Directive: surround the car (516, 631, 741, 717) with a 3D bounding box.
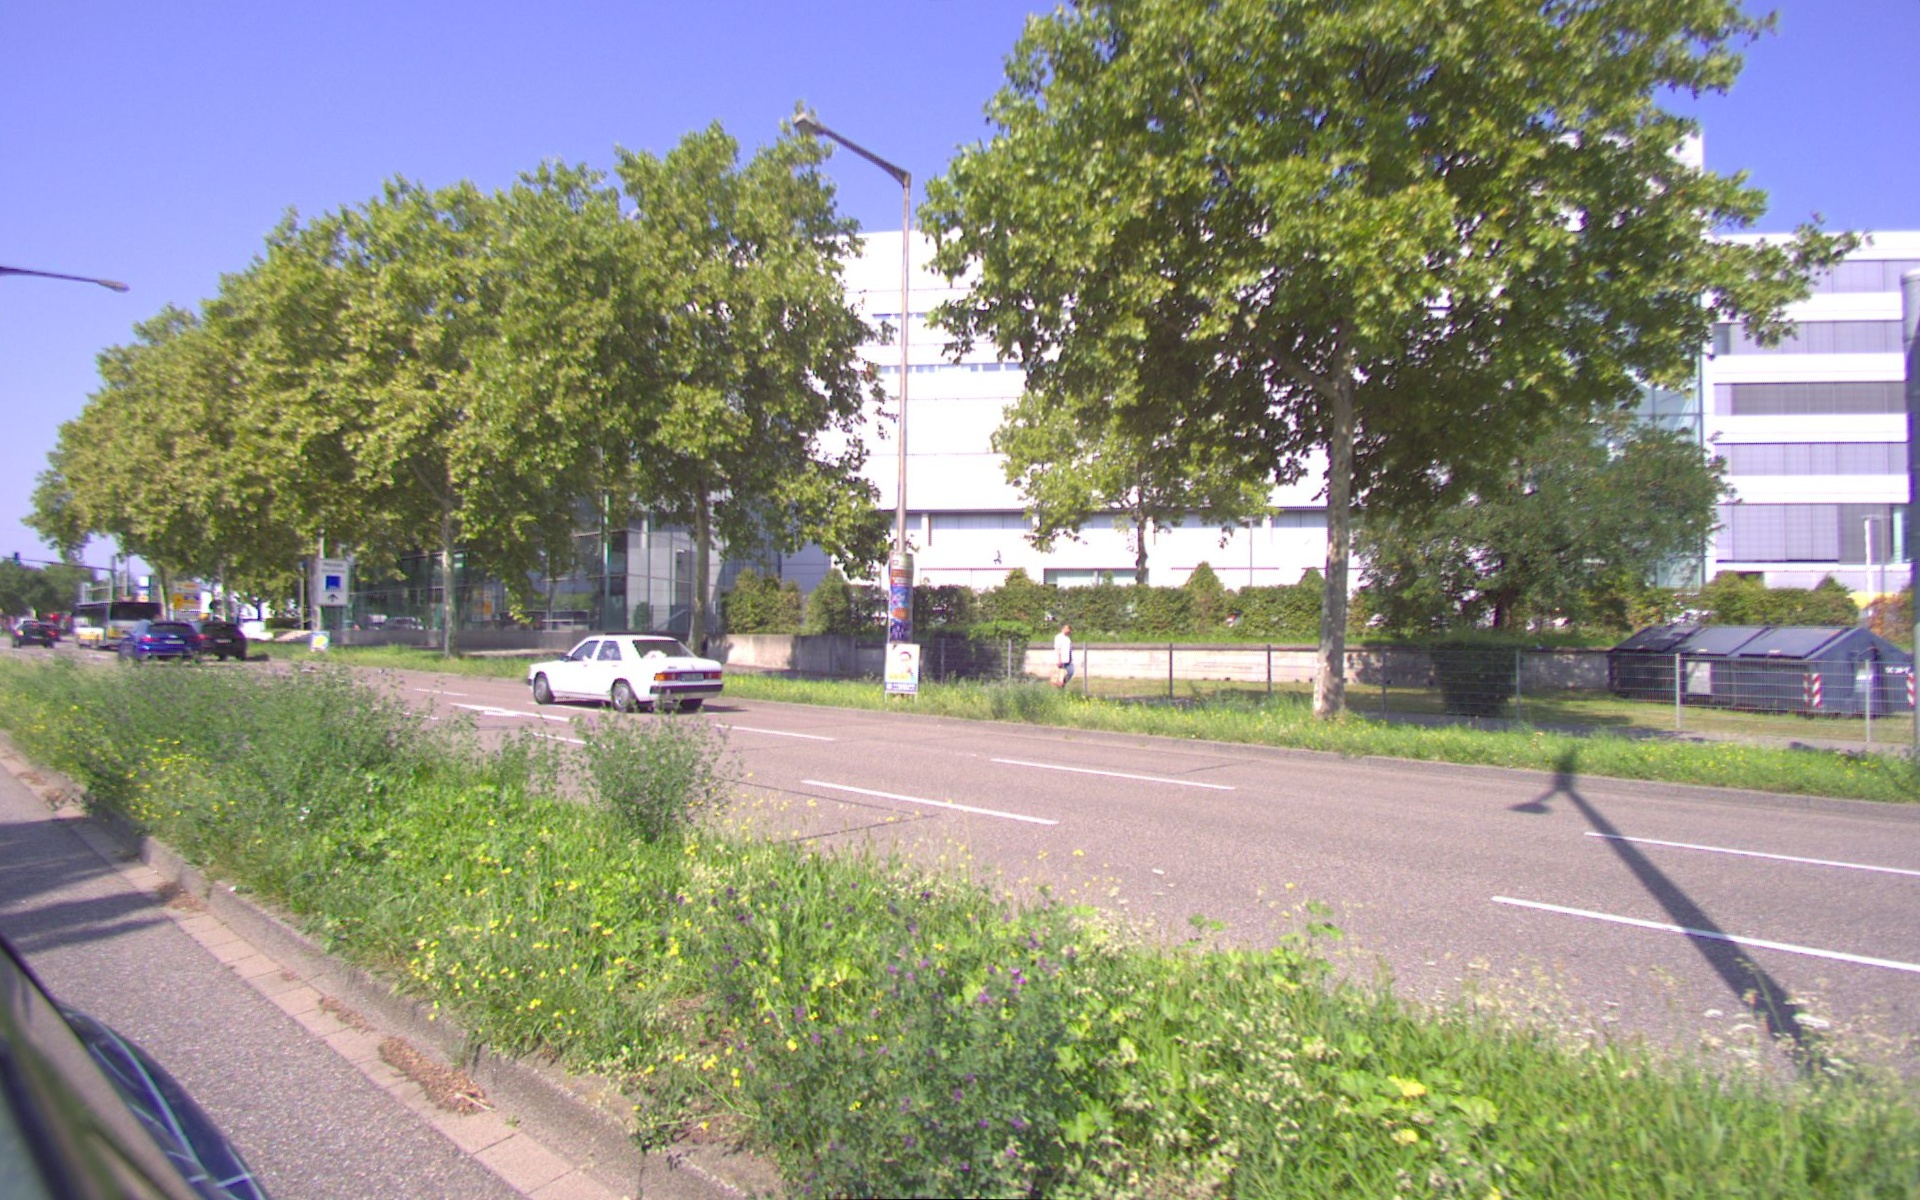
[{"bbox_3d":[-6.286,1.329,19.008,4.402,1.428,1.778,-1,-4,37],"label":"car"}]

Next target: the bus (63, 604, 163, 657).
[{"bbox_3d":[-48.573,1.741,57.886,10.901,2.715,2.634,-1,-4,41],"label":"bus"}]

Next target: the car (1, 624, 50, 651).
[{"bbox_3d":[-54.672,2.157,59.206,4.311,1.501,1.687,-1,-2,42],"label":"car"}]

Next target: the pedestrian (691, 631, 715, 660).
[{"bbox_3d":[-10.239,1.817,40.307,0.561,1.118,0.728,-5,-3,37],"label":"pedestrian"}]

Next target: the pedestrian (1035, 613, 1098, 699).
[{"bbox_3d":[2.644,1.386,25.222,1.248,2.029,1.017,-3,-2,-6],"label":"pedestrian"}]

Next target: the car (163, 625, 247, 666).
[{"bbox_3d":[-31.407,1.859,42.061,4.608,1.617,1.826,-2,-2,41],"label":"car"}]

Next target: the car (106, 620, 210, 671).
[{"bbox_3d":[-27.410,1.528,34.542,4.343,1.597,1.973,-2,-2,40],"label":"car"}]

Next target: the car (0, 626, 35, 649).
[{"bbox_3d":[-82.096,3.222,87.993,3.973,1.910,1.907,-1,-4,40],"label":"car"}]
